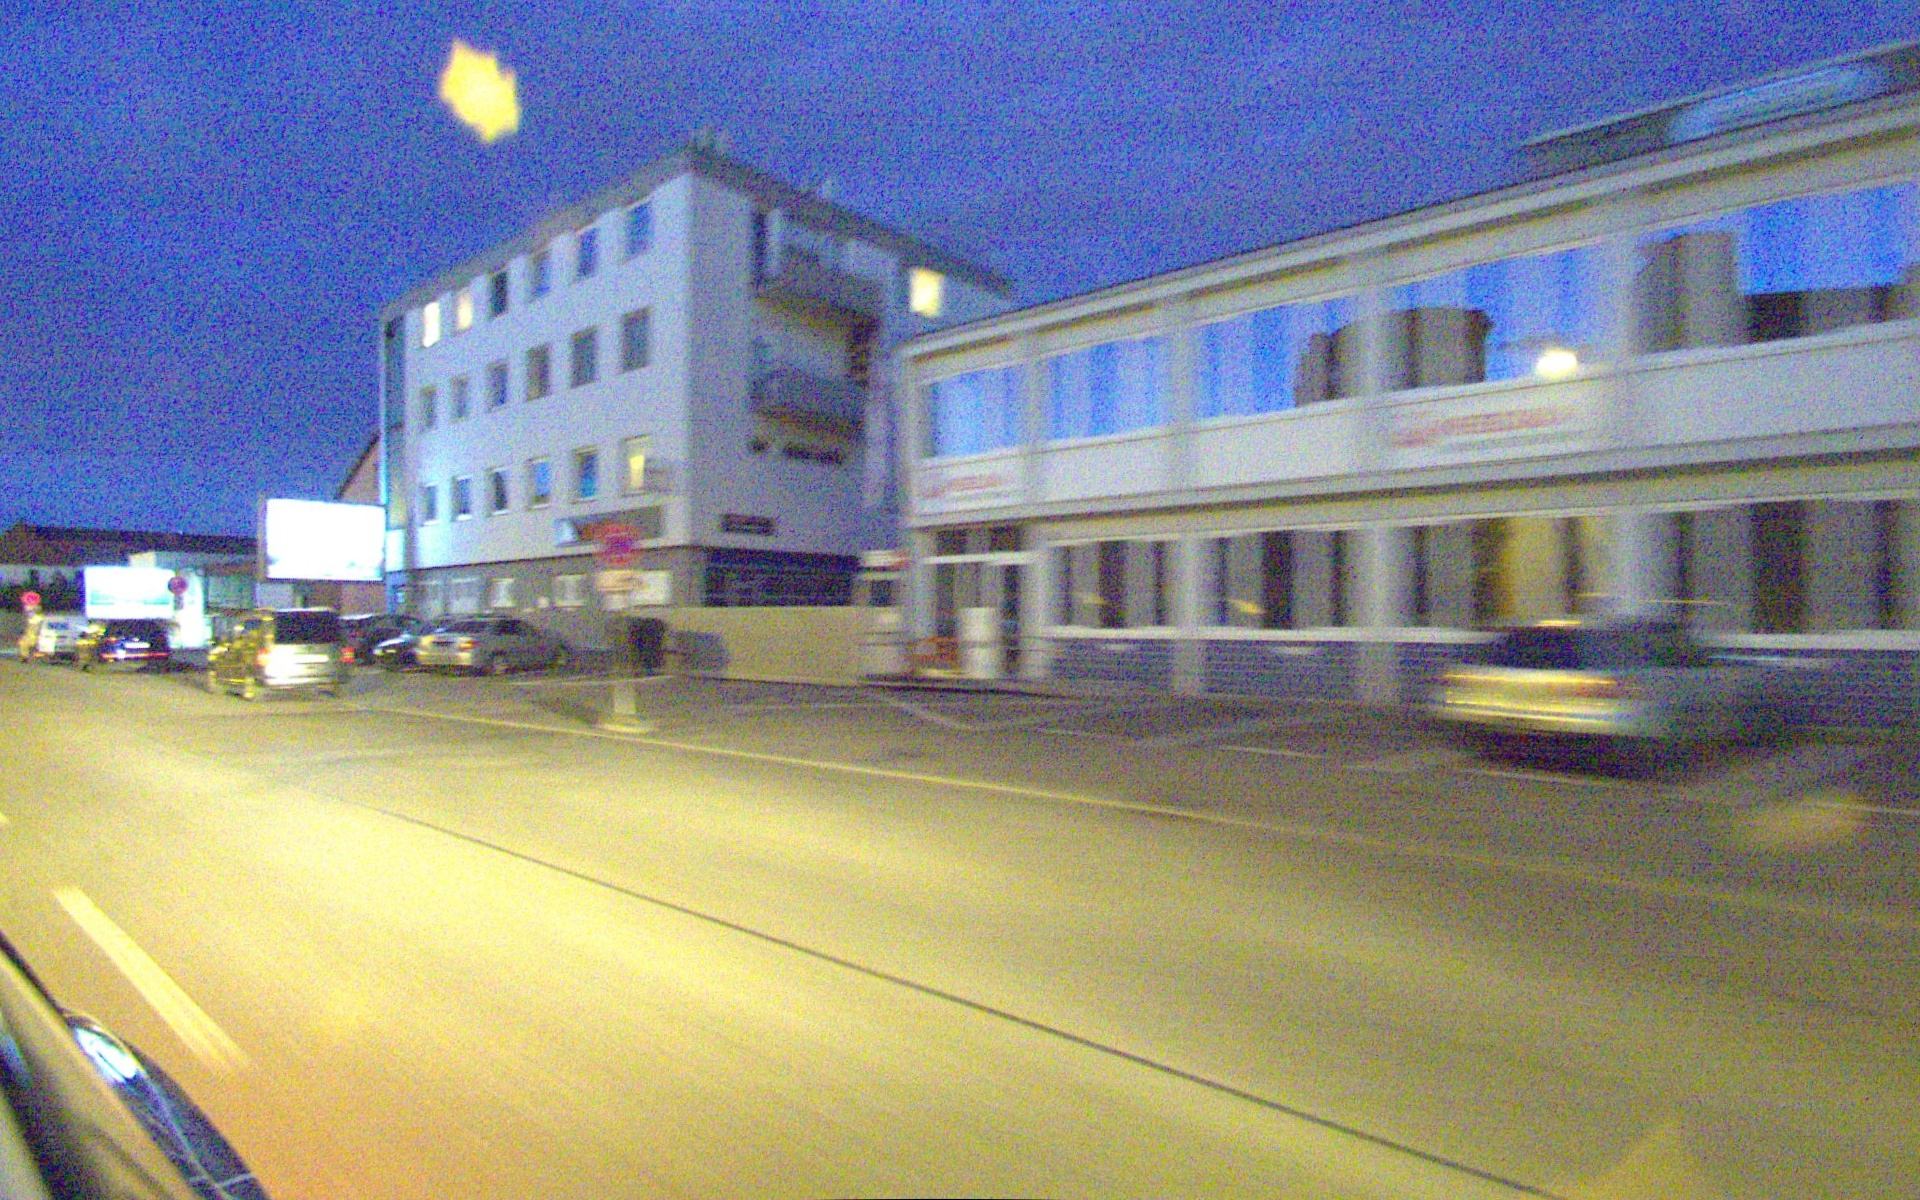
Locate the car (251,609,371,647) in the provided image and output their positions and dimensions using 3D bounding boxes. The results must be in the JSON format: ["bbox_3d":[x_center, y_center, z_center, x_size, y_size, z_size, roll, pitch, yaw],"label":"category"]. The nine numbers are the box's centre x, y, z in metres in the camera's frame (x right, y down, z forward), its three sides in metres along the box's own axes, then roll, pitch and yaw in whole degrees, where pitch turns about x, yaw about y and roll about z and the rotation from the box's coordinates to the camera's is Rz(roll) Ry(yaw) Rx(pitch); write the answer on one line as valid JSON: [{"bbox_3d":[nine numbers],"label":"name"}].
[{"bbox_3d":[-30.240,1.284,47.238,1.922,1.666,4.352,-1,-2,43],"label":"car"}]

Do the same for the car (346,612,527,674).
[{"bbox_3d":[-14.258,1.126,27.918,1.979,1.563,4.654,0,-1,12],"label":"car"}]

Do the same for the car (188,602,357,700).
[{"bbox_3d":[-14.572,1.011,21.363,4.411,1.863,1.795,-1,-1,40],"label":"car"}]

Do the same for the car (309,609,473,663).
[{"bbox_3d":[-17.890,1.093,32.081,1.982,1.572,4.391,0,-1,16],"label":"car"}]

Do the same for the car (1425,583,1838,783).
[{"bbox_3d":[6.881,0.684,10.298,4.072,1.443,1.902,-4,1,-31],"label":"car"}]

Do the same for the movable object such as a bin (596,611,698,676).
[{"bbox_3d":[-7.693,1.039,24.924,1.608,1.511,1.838,-1,-1,41],"label":"movable object such as a bin"}]

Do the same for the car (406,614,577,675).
[{"bbox_3d":[-11.982,1.092,26.265,1.775,1.451,4.398,0,-1,12],"label":"car"}]

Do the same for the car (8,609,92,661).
[{"bbox_3d":[-34.184,1.286,37.962,4.876,1.812,1.785,-1,-2,41],"label":"car"}]

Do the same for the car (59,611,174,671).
[{"bbox_3d":[-25.916,1.215,31.027,4.813,1.701,1.927,-1,-2,41],"label":"car"}]
